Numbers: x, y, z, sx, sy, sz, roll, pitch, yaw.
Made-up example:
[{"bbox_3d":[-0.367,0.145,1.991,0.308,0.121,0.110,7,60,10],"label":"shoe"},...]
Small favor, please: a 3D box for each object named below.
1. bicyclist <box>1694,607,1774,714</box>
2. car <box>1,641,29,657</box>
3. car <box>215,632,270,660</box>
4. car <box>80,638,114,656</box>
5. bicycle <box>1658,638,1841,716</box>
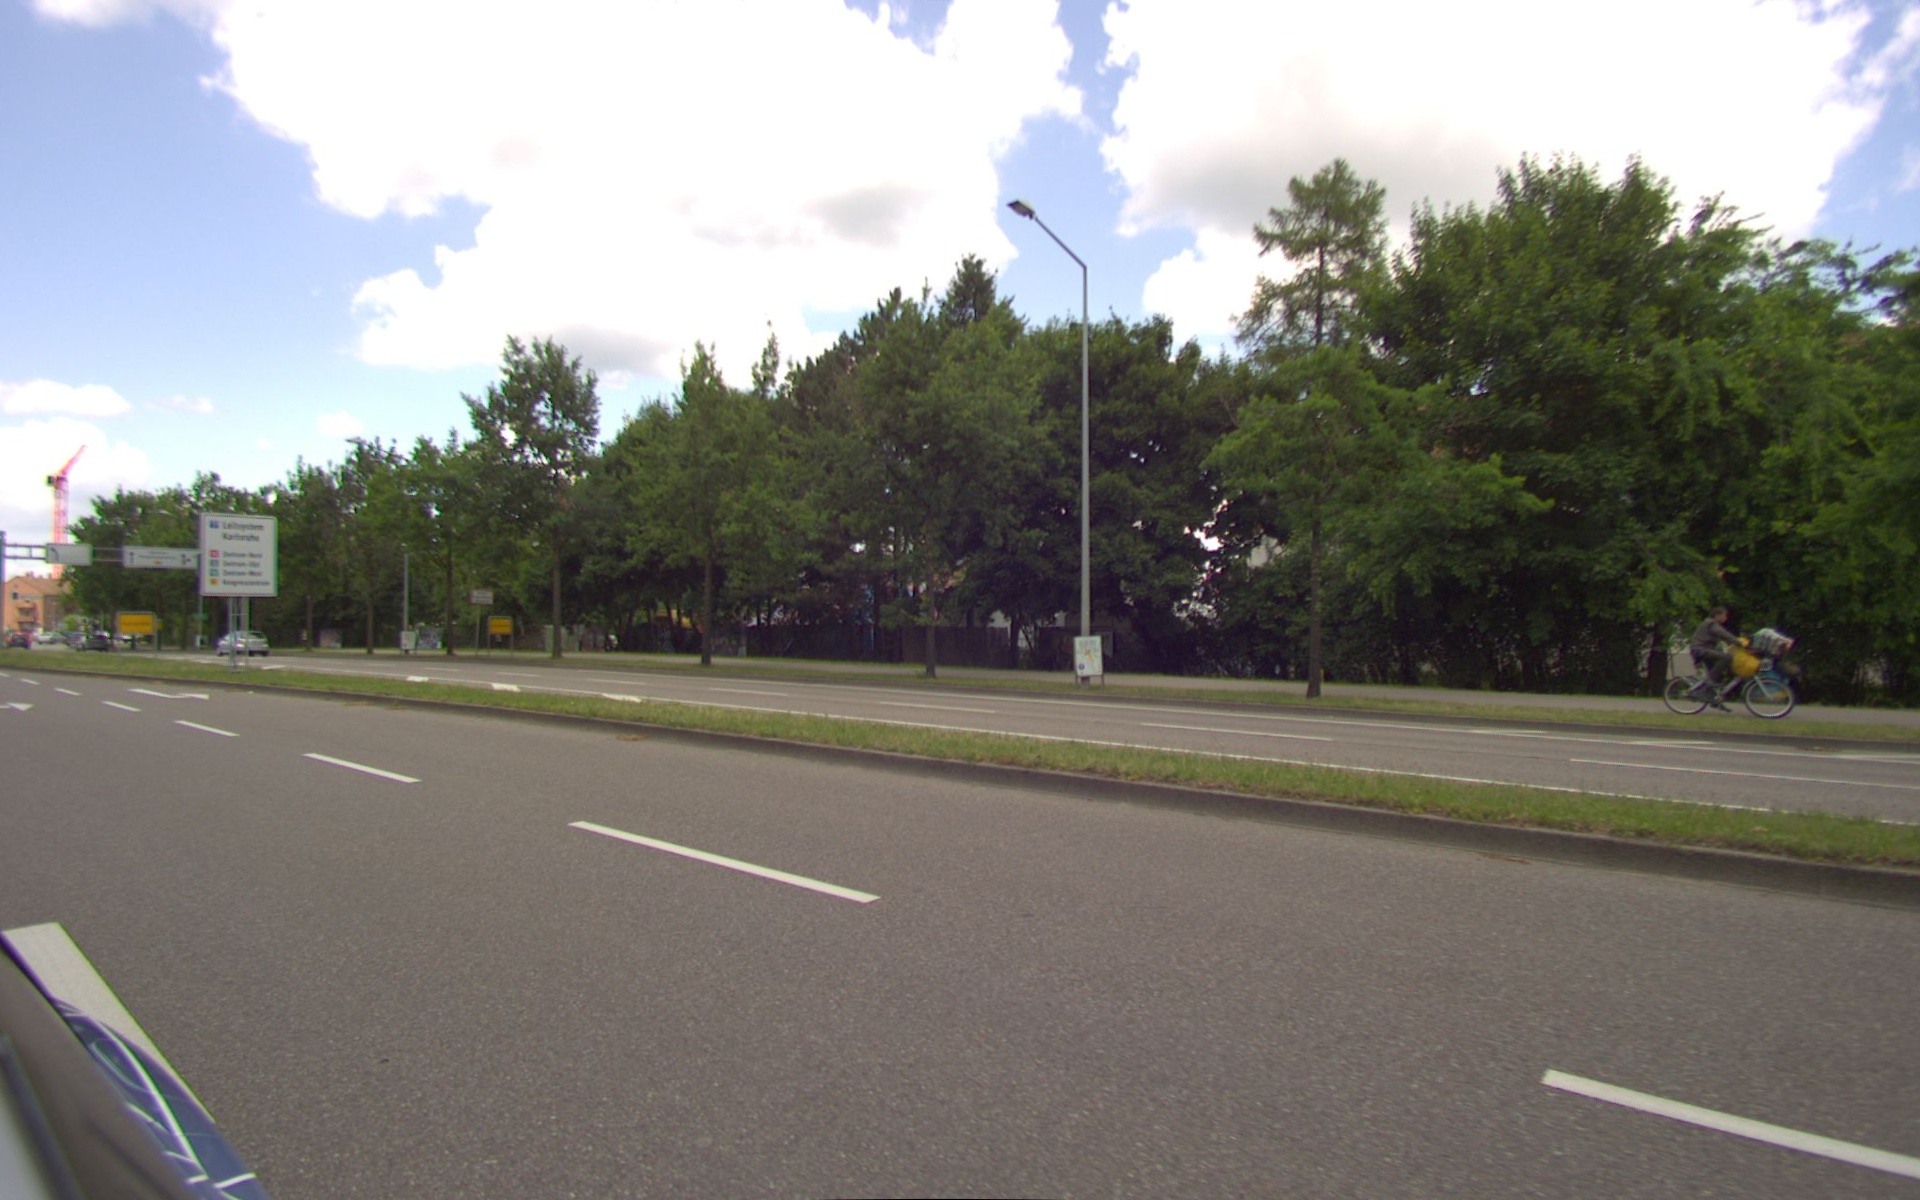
[{"bbox_3d":[12.527,0.972,16.415,0.979,1.671,0.731,-2,-3,37],"label":"bicyclist"},{"bbox_3d":[-94.216,4.855,100.909,4.070,1.507,1.691,-2,-3,42],"label":"car"},{"bbox_3d":[-39.791,2.522,56.101,3.696,1.507,1.690,-2,-3,42],"label":"car"},{"bbox_3d":[-73.757,4.022,86.475,4.071,1.507,1.690,-2,-3,42],"label":"car"},{"bbox_3d":[12.650,1.201,16.311,2.254,1.170,0.743,-1,-3,37],"label":"bicycle"}]
